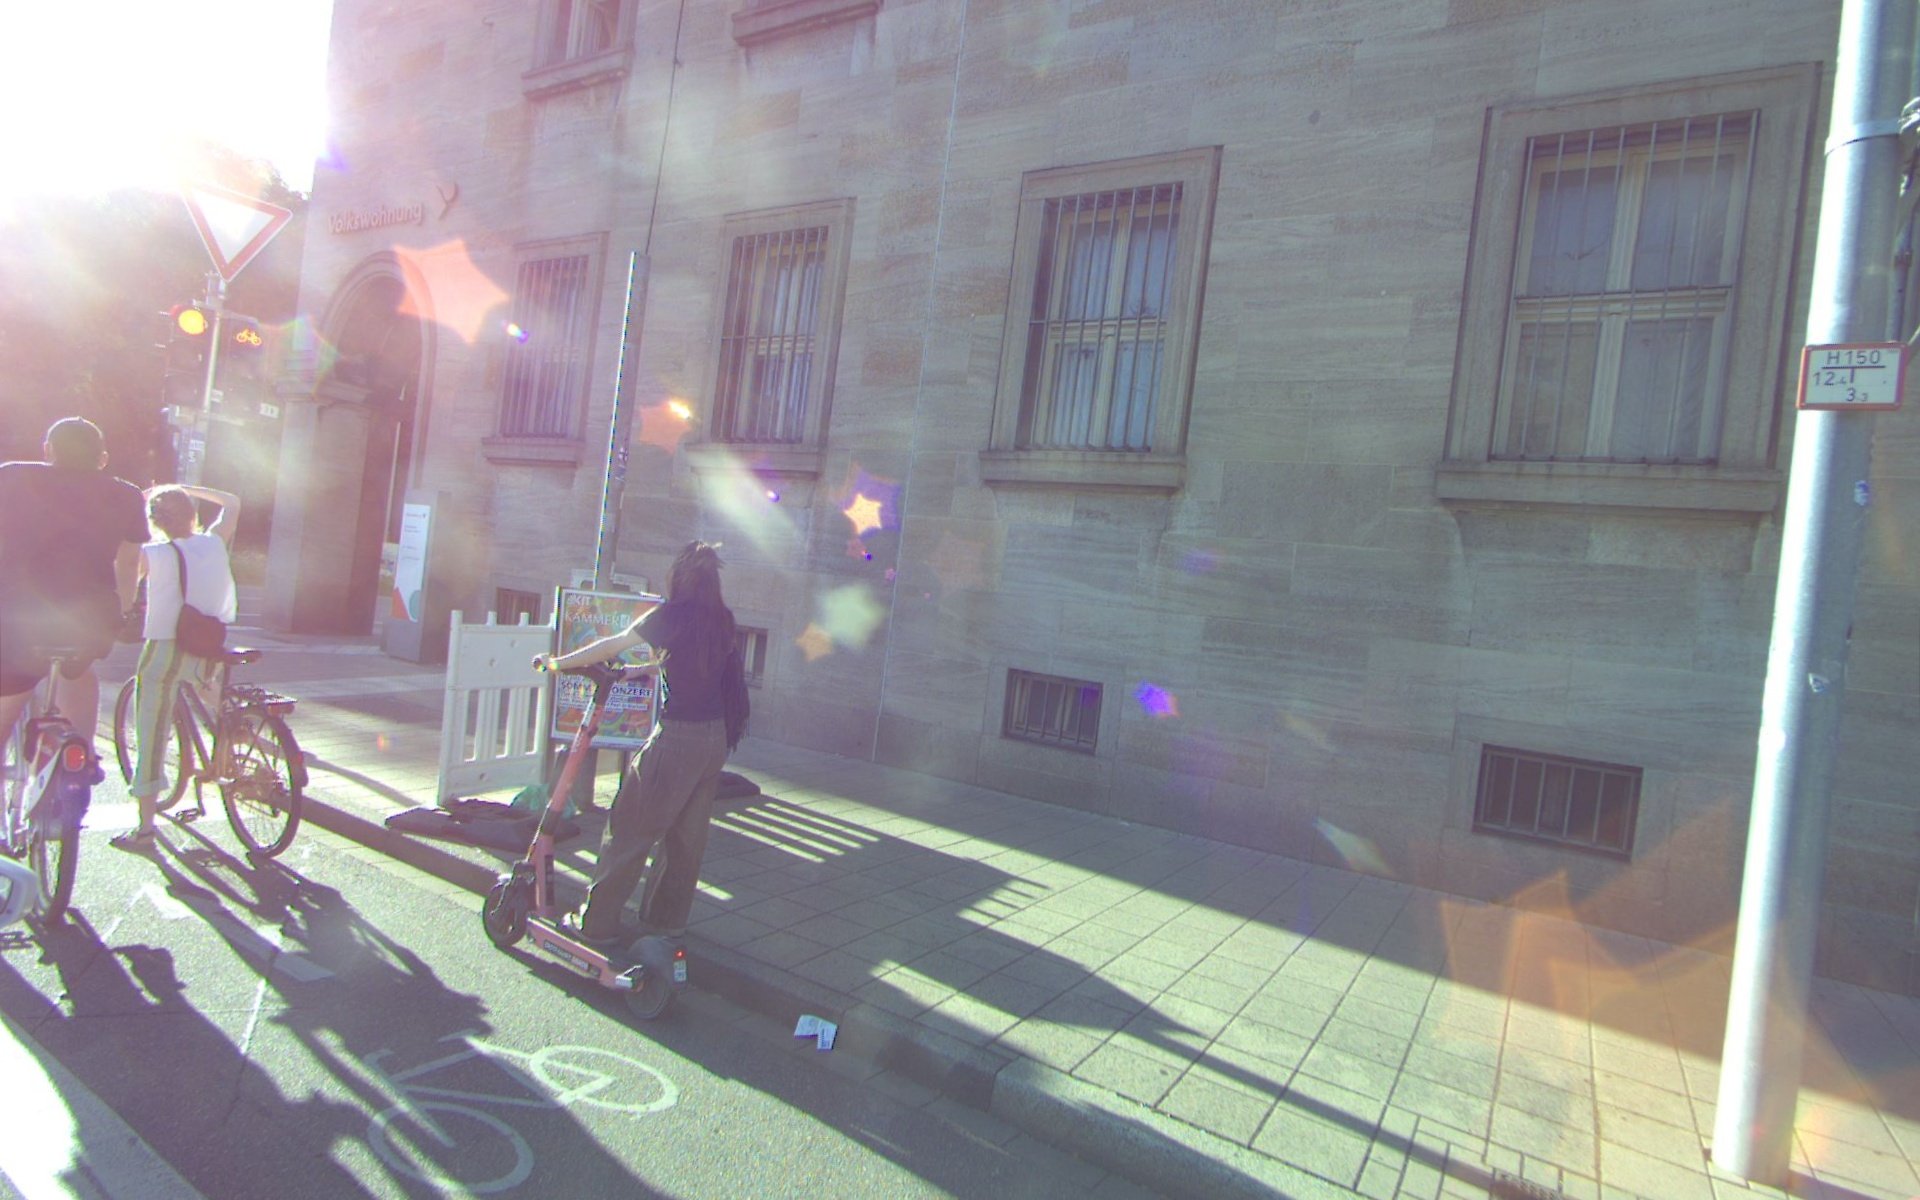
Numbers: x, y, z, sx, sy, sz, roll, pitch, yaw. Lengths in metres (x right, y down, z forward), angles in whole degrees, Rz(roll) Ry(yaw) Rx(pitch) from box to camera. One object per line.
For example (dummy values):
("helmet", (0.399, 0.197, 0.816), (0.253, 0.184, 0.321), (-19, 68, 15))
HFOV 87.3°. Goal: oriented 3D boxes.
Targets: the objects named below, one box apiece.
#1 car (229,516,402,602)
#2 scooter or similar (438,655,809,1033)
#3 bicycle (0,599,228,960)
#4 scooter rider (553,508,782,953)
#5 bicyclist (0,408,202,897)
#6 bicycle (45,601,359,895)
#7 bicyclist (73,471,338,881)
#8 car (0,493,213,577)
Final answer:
("car", (-20.273, -1.252, 31.792), (1.968, 2.037, 3.994), (6, -2, 33))
("scooter or similar", (-1.341, 0.877, 3.994), (1.250, 1.163, 0.574), (6, -1, 27))
("bicycle", (-3.717, 0.598, 3.976), (1.717, 1.057, 0.624), (7, 0, 31))
("scooter rider", (-1.127, 0.490, 3.984), (0.566, 1.581, 0.546), (7, 0, 0))
("bicyclist", (-3.665, 0.176, 3.977), (0.897, 1.736, 0.624), (7, 0, 30))
("bicycle", (-3.706, 0.636, 4.873), (1.718, 1.057, 0.582), (7, 0, 33))
("bicyclist", (-3.639, 0.323, 4.852), (0.934, 1.760, 0.584), (7, 0, 32))
("car", (-23.473, -1.743, 27.337), (1.967, 1.533, 4.586), (6, -2, 32))
